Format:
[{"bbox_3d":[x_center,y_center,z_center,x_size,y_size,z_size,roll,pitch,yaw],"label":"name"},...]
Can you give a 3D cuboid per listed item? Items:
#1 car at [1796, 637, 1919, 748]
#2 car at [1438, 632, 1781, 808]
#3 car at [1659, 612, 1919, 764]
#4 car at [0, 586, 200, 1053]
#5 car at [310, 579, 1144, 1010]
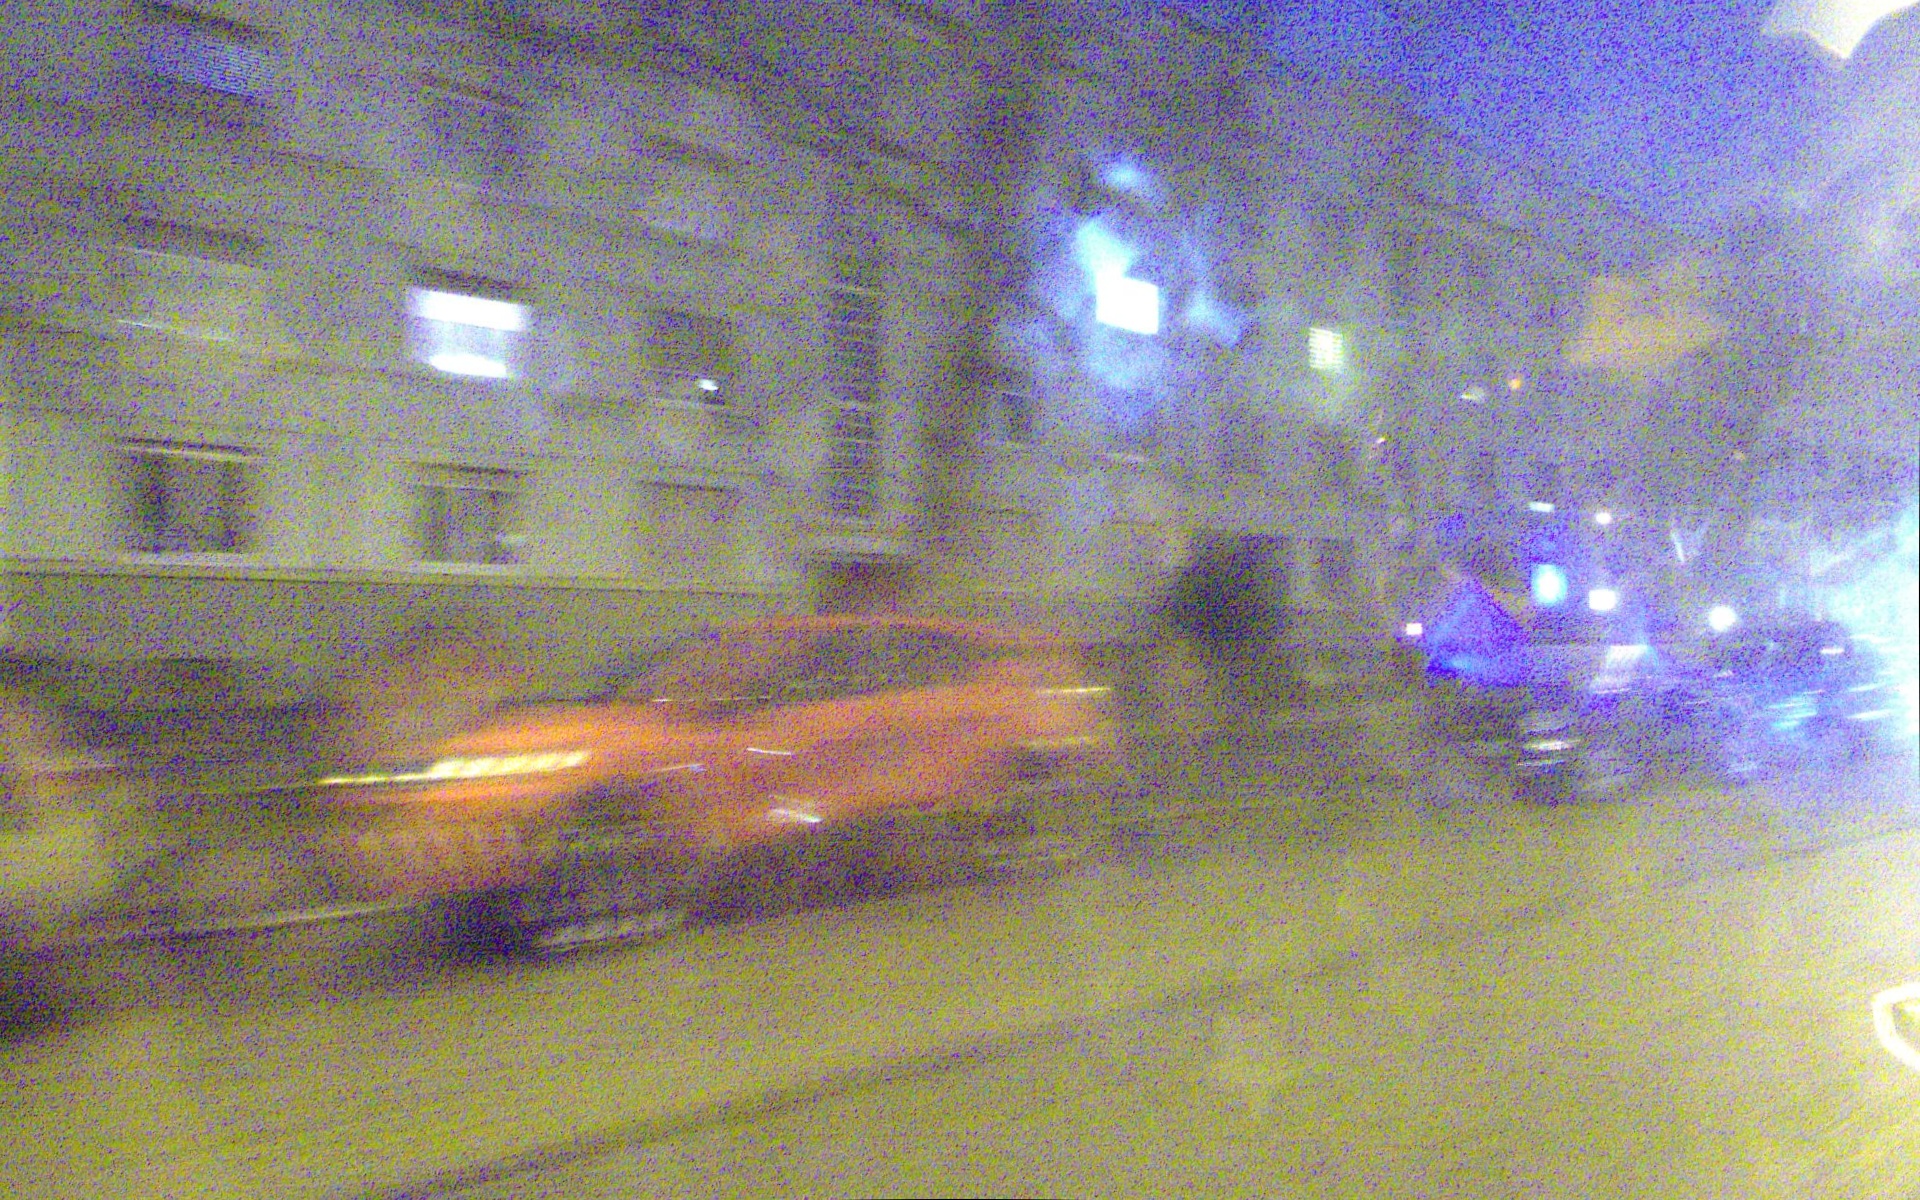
[{"bbox_3d":[14.516,1.316,15.035,4.880,1.475,1.628,1,-5,-33],"label":"car"},{"bbox_3d":[6.457,1.095,9.946,3.333,1.479,1.426,1,-5,-30],"label":"car"},{"bbox_3d":[10.250,1.038,12.371,3.337,1.640,1.466,1,-5,-33],"label":"car"},{"bbox_3d":[-5.187,0.749,3.108,4.343,1.559,1.657,1,-5,-33],"label":"car"},{"bbox_3d":[-1.114,0.845,5.791,4.348,1.618,1.735,2,-5,-36],"label":"car"}]
